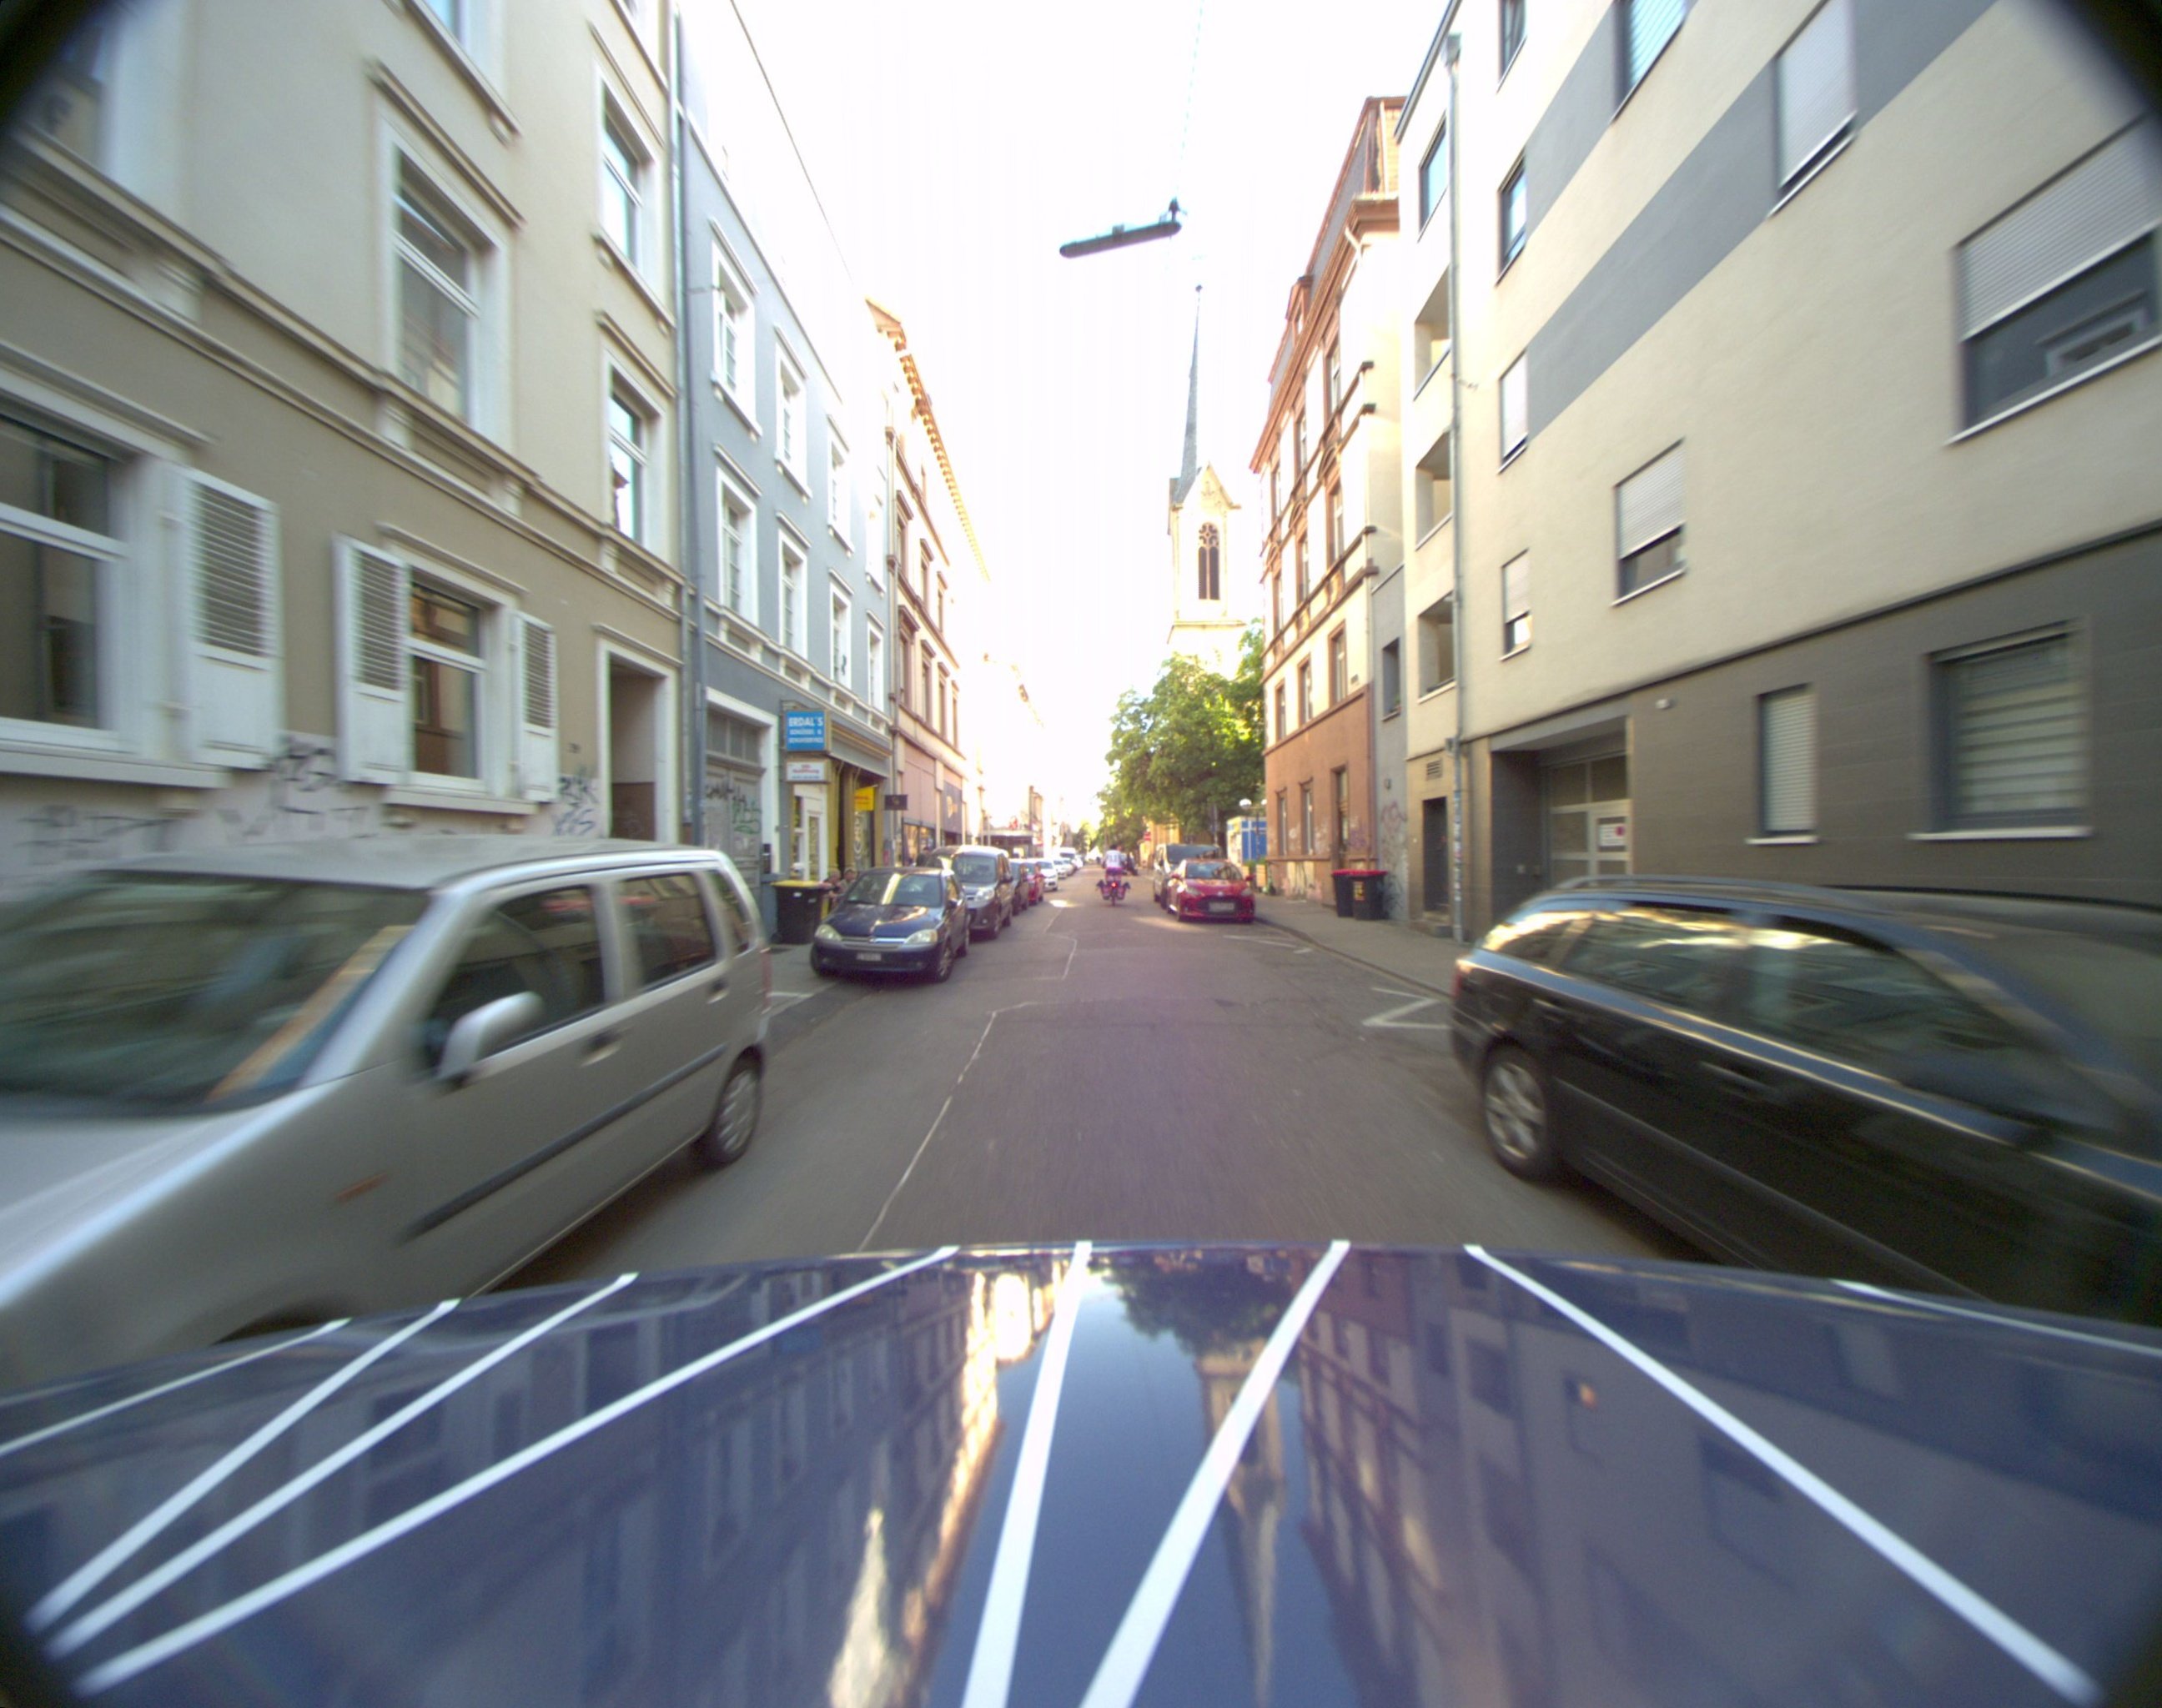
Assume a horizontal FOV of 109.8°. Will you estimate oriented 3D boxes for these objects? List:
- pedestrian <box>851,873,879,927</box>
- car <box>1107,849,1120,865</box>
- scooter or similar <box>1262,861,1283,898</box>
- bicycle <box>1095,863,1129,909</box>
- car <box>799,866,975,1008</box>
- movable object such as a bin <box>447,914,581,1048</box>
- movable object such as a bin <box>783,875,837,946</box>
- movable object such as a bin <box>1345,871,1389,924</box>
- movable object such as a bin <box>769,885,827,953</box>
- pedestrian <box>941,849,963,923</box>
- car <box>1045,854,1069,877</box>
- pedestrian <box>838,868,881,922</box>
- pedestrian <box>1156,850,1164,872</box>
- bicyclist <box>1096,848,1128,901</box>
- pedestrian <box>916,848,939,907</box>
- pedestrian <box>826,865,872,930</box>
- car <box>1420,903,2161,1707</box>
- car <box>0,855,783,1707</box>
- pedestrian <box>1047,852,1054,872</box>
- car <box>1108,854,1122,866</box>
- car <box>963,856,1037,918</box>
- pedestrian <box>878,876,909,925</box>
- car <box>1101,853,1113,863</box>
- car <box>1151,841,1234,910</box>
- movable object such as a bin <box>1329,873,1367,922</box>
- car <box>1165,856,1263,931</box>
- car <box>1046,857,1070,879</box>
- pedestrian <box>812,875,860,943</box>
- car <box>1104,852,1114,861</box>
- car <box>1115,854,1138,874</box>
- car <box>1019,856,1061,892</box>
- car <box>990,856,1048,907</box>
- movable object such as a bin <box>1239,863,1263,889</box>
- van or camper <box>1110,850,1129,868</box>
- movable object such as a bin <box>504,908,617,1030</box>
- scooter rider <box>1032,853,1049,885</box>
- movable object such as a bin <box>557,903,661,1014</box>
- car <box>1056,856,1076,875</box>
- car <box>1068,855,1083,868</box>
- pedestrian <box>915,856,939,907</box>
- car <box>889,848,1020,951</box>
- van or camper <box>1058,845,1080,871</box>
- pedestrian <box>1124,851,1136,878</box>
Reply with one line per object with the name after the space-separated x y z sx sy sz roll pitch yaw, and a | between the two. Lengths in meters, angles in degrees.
-5.070 1.066 17.852 0.439 1.215 0.514 -2 1 3 | pedestrian
4.547 0.448 106.418 1.777 2.128 4.023 -1 0 1 | car
6.500 0.852 25.835 0.348 1.209 1.391 -2 1 0 | scooter or similar
0.972 0.961 23.715 0.980 1.306 2.556 0 0 3 | bicycle
-2.489 0.983 10.580 1.556 1.502 3.611 -2 1 -2 | car
-4.990 1.096 6.720 0.754 1.081 0.559 1 1 0 | movable object such as a bin
-4.828 0.996 13.587 0.764 1.236 0.580 0 1 -2 | movable object such as a bin
6.141 0.923 16.323 0.731 1.060 0.505 -3 1 -30 | movable object such as a bin
-4.801 1.095 12.933 0.727 1.085 0.685 0 1 -2 | movable object such as a bin
-3.071 0.744 18.099 0.428 1.730 0.562 -2 1 -13 | pedestrian
-1.874 0.883 59.921 1.704 1.641 4.063 -2 1 0 | car
-4.822 0.892 16.583 0.677 1.118 0.654 -2 1 3 | pedestrian
5.923 0.512 57.007 0.480 1.584 0.714 -2 1 -2 | pedestrian
0.984 0.629 23.771 0.952 1.618 0.953 1 1 3 | bicyclist
-4.631 0.690 22.917 0.630 1.730 0.658 -2 1 -12 | pedestrian
-4.810 0.892 15.766 0.677 1.269 0.654 -2 1 3 | pedestrian
2.824 1.021 2.135 1.721 1.470 4.499 2 -1 0 | car
-2.534 0.900 2.563 1.560 1.702 3.558 -2 1 0 | car
-2.874 0.735 71.174 0.563 1.883 0.530 -2 1 0 | pedestrian
4.474 0.745 101.007 1.696 1.529 3.813 -1 0 1 | car
-2.281 0.888 22.047 1.573 1.548 3.314 2 1 3 | car
-4.797 1.182 19.407 0.530 1.215 0.515 -1 1 41 | pedestrian
4.442 0.691 130.405 1.777 1.614 4.022 -1 0 0 | car
3.378 0.619 24.045 2.025 1.868 5.297 -2 0 2 | car
6.056 0.971 17.211 0.760 1.060 0.652 -2 1 21 | movable object such as a bin
3.140 0.875 18.669 1.755 1.513 3.869 2 1 1 | car
-1.665 0.977 54.964 1.694 1.454 3.639 -2 1 -2 | car
-4.824 1.077 15.017 0.677 1.269 0.628 -2 1 3 | pedestrian
5.173 0.469 140.902 1.777 1.614 4.022 -1 0 0 | car
3.778 0.802 63.611 1.798 1.543 3.834 -2 1 1 | car
-1.884 0.920 36.145 1.791 1.507 4.135 -2 1 -1 | car
-2.092 0.909 26.500 1.610 1.563 3.553 -2 1 1 | car
7.468 0.971 33.371 0.872 1.080 0.774 -2 1 2 | movable object such as a bin
4.276 0.555 84.435 1.984 1.939 4.563 -1 0 1 | van or camper
-5.002 1.087 7.335 0.696 1.081 0.559 1 1 0 | movable object such as a bin
-2.248 0.839 42.191 0.610 1.768 0.566 -1 2 41 | scooter rider
-4.979 1.085 8.042 0.696 1.081 0.632 1 1 0 | movable object such as a bin
-1.249 0.971 65.108 1.558 1.517 4.200 -2 1 1 | car
-0.682 0.894 95.497 1.696 1.615 3.963 -1 0 1 | car
-4.781 0.844 23.609 0.589 1.521 0.658 -2 1 -4 | pedestrian
-2.435 0.797 15.752 1.904 1.783 4.314 -2 1 1 | car
-1.231 0.422 81.045 1.998 2.617 5.979 -2 1 1 | van or camper
3.501 0.731 54.115 0.718 1.862 0.720 -2 1 0 | pedestrian
